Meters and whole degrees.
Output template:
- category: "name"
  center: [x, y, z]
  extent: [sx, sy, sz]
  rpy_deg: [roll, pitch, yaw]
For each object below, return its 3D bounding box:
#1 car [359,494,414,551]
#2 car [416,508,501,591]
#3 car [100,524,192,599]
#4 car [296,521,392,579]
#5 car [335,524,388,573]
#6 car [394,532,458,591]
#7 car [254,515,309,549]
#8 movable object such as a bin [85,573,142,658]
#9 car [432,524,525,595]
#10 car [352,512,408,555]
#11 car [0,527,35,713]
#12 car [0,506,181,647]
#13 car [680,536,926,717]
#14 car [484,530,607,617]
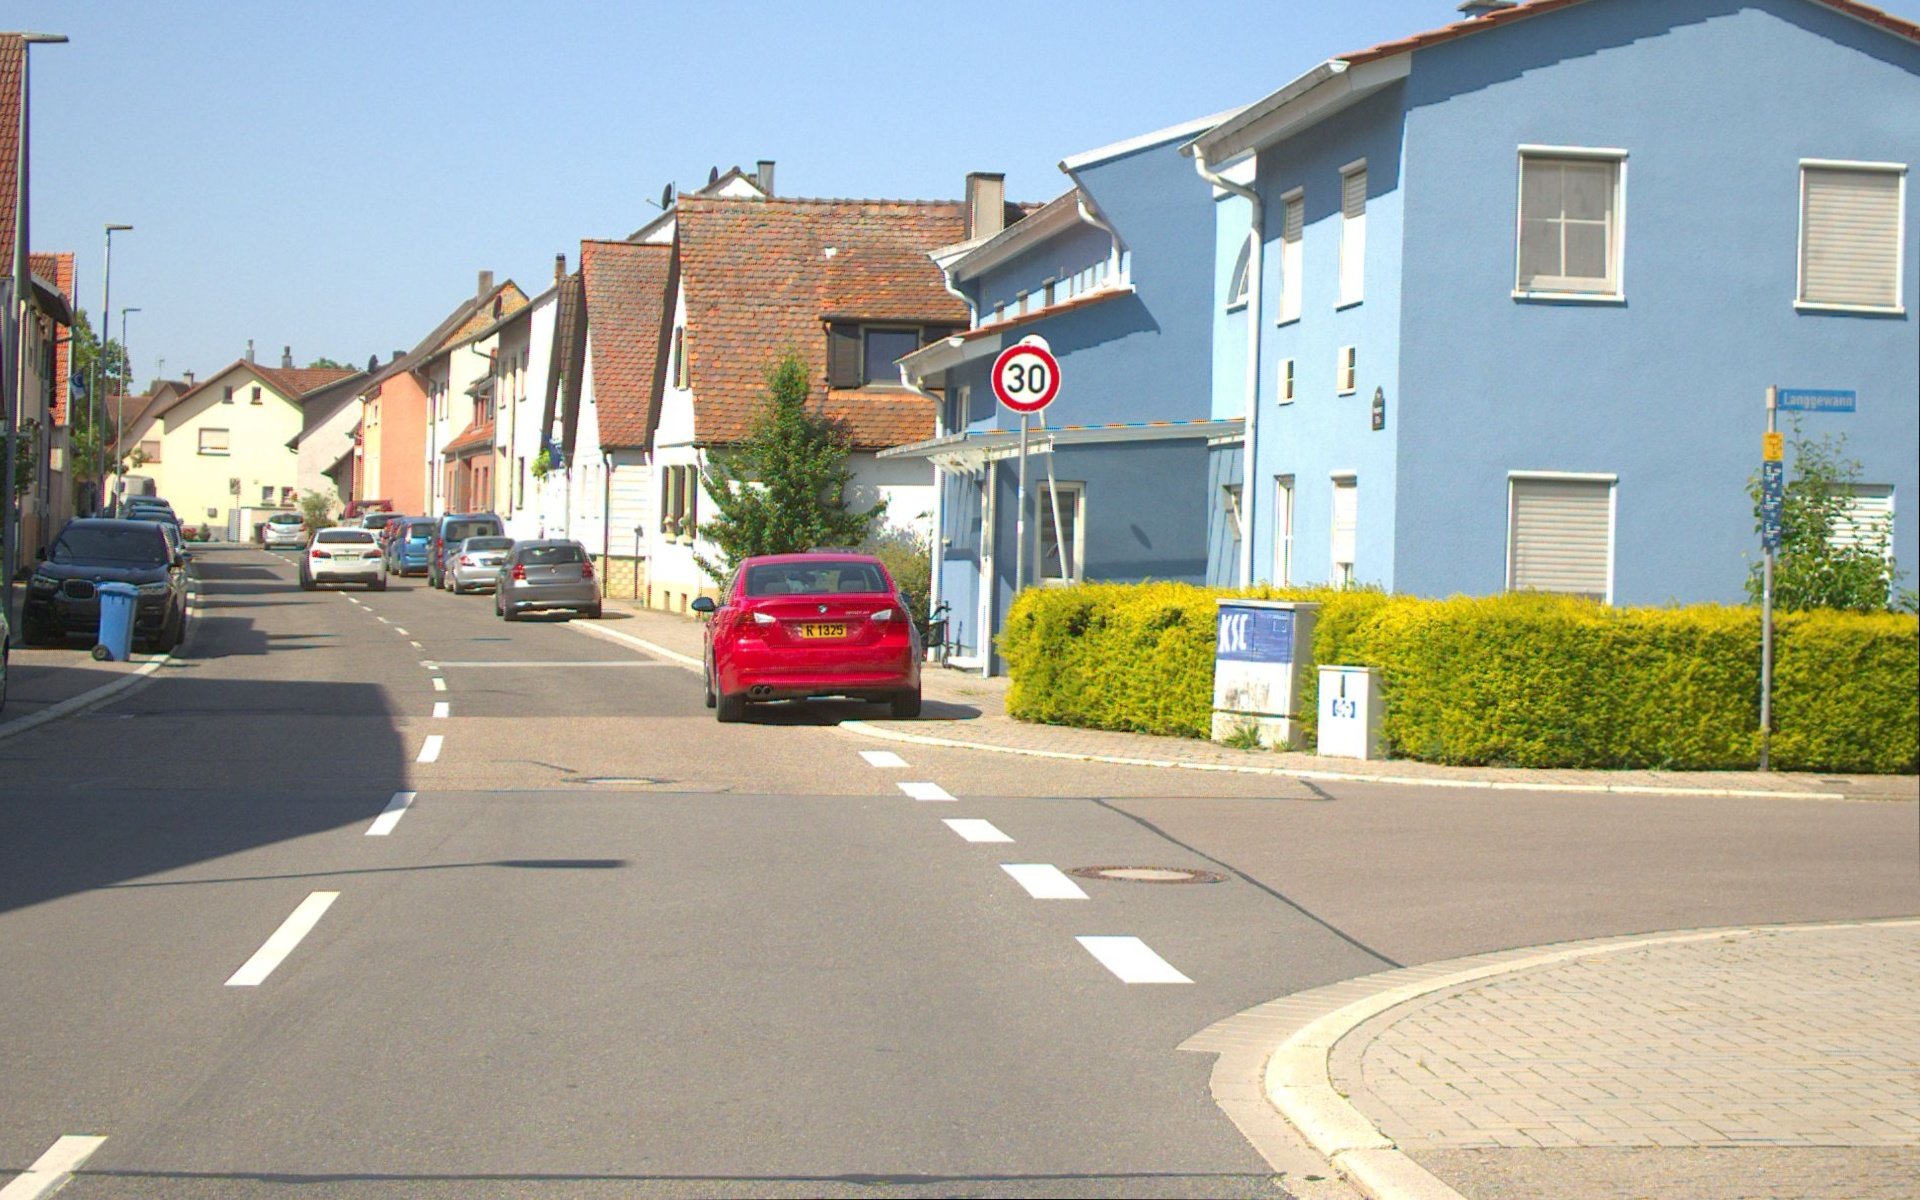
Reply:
- category: "car"
  center: [-20.676, -2.778, 123.918]
  extent: [1.766, 1.997, 3.451]
  rpy_deg: [1, 1, -12]
- category: "car"
  center: [-12.136, -1.231, 83.120]
  extent: [1.649, 1.903, 3.627]
  rpy_deg: [2, 1, -13]
- category: "car"
  center: [-18.177, -0.880, 76.896]
  extent: [1.805, 1.542, 4.405]
  rpy_deg: [2, 1, -12]
- category: "car"
  center: [-14.452, -1.176, 80.536]
  extent: [1.993, 1.284, 4.001]
  rpy_deg: [1, 1, -13]
- category: "car"
  center: [-19.356, -1.672, 111.059]
  extent: [1.420, 1.510, 3.305]
  rpy_deg: [2, 1, -13]
- category: "car"
  center: [-14.580, -1.067, 93.748]
  extent: [1.420, 1.510, 3.305]
  rpy_deg: [2, 1, -13]
- category: "car"
  center: [-26.617, -2.674, 134.781]
  extent: [1.993, 1.284, 3.805]
  rpy_deg: [1, 1, -13]
- category: "movable object such as a bin"
  center: [-10.120, 0.183, 41.114]
  extent: [0.596, 0.979, 0.531]
  rpy_deg: [3, 1, -11]
- category: "car"
  center: [-10.945, -0.940, 78.038]
  extent: [1.704, 1.491, 3.453]
  rpy_deg: [2, 1, -13]
- category: "car"
  center: [-20.122, -2.290, 119.154]
  extent: [1.766, 1.428, 3.451]
  rpy_deg: [1, 1, -12]
- category: "car"
  center: [-8.436, 0.117, 26.997]
  extent: [1.640, 1.496, 3.782]
  rpy_deg: [5, 0, -7]
- category: "car"
  center: [-11.558, -0.335, 45.921]
  extent: [1.919, 1.662, 4.667]
  rpy_deg: [4, 0, -10]
- category: "car"
  center: [-1.467, 0.189, 30.523]
  extent: [1.732, 1.489, 4.356]
  rpy_deg: [0, 1, -9]
- category: "car"
  center: [-7.481, -0.504, 61.825]
  extent: [1.704, 1.428, 3.891]
  rpy_deg: [2, 1, -13]
